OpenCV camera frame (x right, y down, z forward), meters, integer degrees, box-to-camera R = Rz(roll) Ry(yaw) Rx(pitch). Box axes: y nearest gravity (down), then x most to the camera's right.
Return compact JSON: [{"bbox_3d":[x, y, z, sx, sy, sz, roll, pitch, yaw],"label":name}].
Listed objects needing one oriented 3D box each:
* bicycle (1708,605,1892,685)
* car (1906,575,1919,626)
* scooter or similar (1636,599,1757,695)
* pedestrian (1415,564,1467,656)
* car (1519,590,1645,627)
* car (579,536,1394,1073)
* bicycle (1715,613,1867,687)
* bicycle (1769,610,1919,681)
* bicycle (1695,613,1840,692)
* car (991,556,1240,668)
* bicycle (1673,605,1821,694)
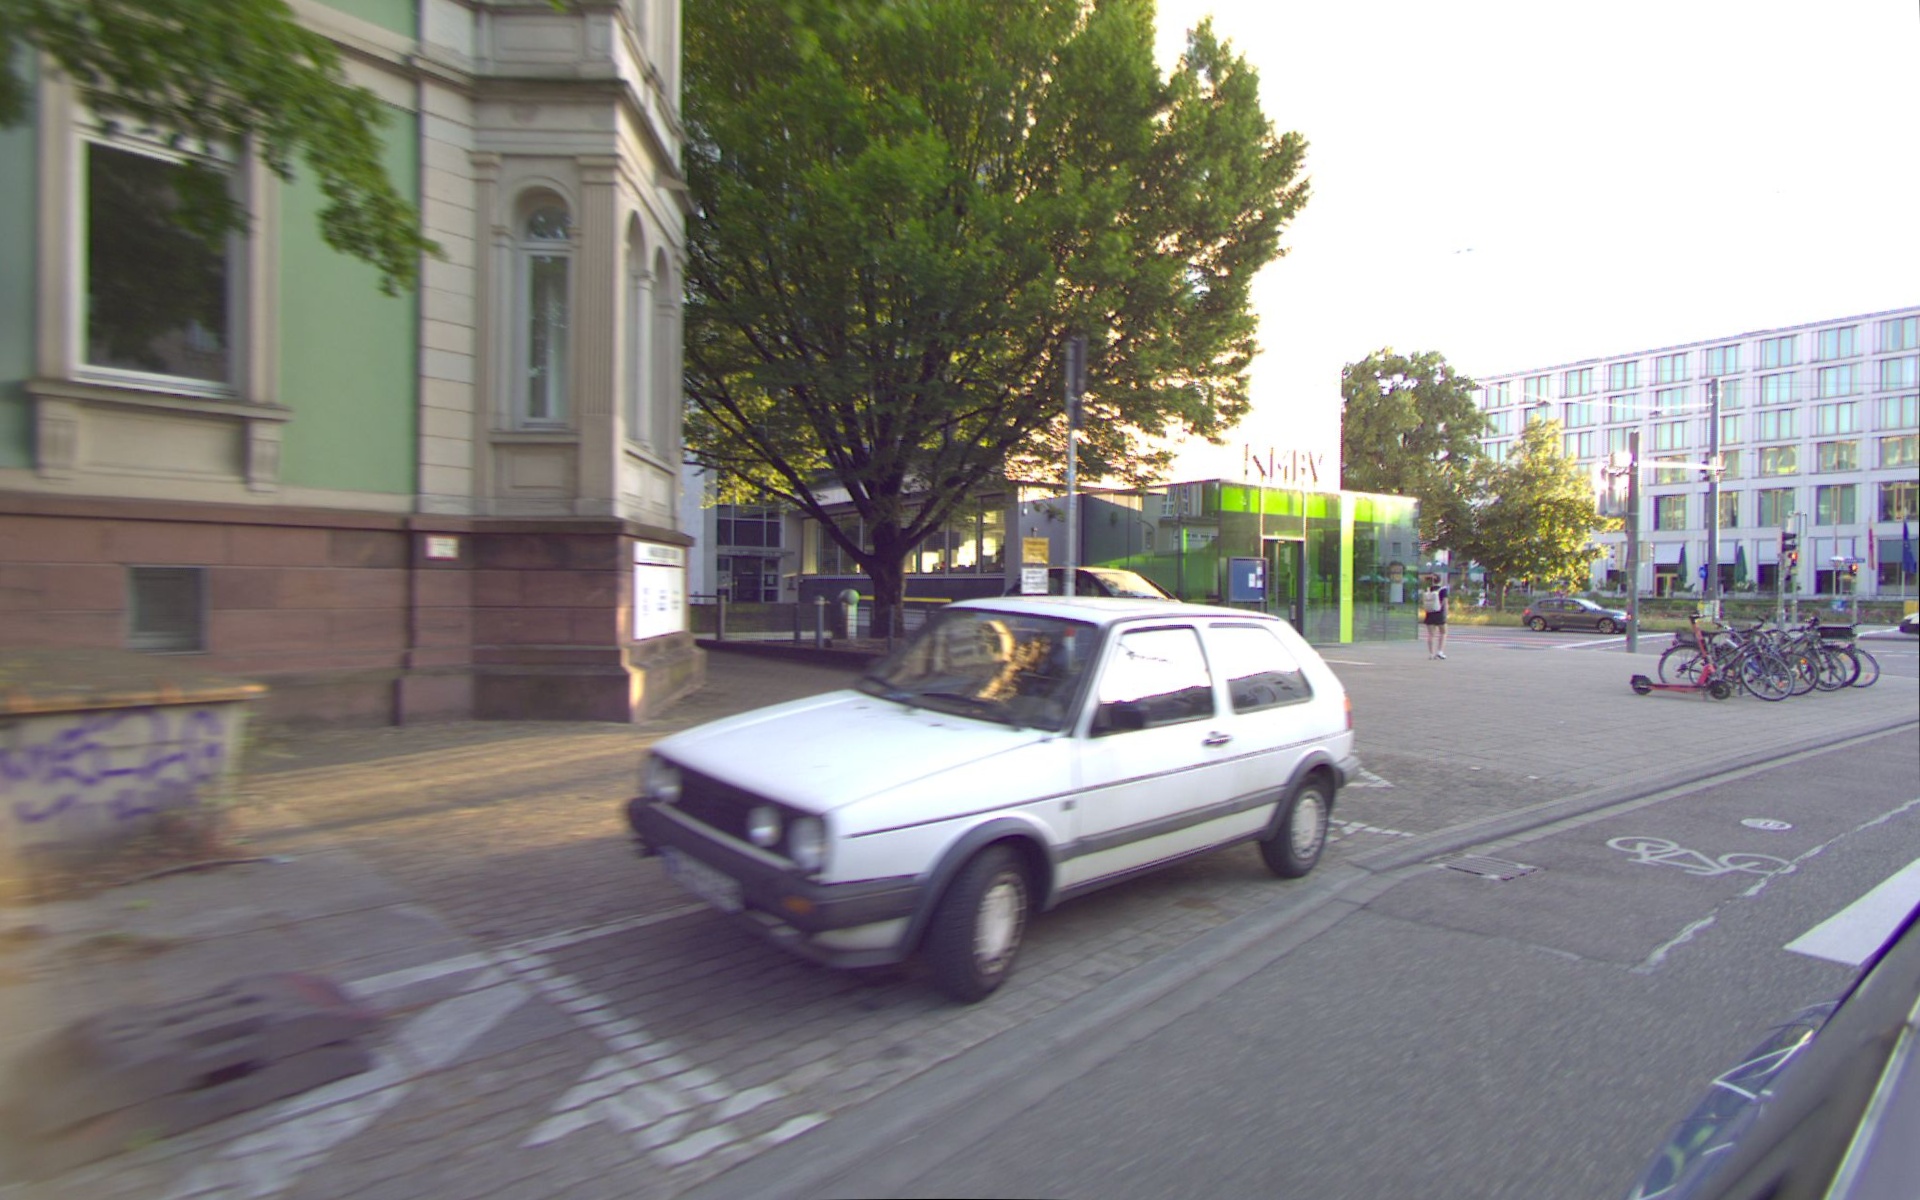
[{"bbox_3d":[14.009,0.709,16.953,0.729,1.146,2.239,0,2,-32],"label":"bicycle"},{"bbox_3d":[38.430,0.034,37.661,1.771,1.935,4.465,0,1,-35],"label":"car"},{"bbox_3d":[10.321,0.630,14.210,0.579,1.240,1.204,0,2,-34],"label":"scooter or similar"},{"bbox_3d":[9.658,0.181,20.324,0.705,1.790,0.975,1,0,40],"label":"pedestrian"},{"bbox_3d":[25.986,0.319,42.424,1.665,1.438,4.176,0,1,-32],"label":"car"},{"bbox_3d":[0.417,0.567,4.981,3.933,1.571,1.682,0,4,-44],"label":"car"},{"bbox_3d":[13.433,0.774,16.415,0.729,1.088,1.762,0,1,-32],"label":"bicycle"},{"bbox_3d":[15.022,0.746,17.212,0.728,1.088,1.870,0,1,-17],"label":"bicycle"},{"bbox_3d":[12.154,0.761,15.277,0.729,1.088,1.557,0,1,-32],"label":"bicycle"},{"bbox_3d":[2.414,0.147,16.615,1.769,1.594,3.998,1,0,-34],"label":"car"},{"bbox_3d":[11.325,0.679,14.611,0.729,1.177,1.532,0,1,-32],"label":"bicycle"}]
